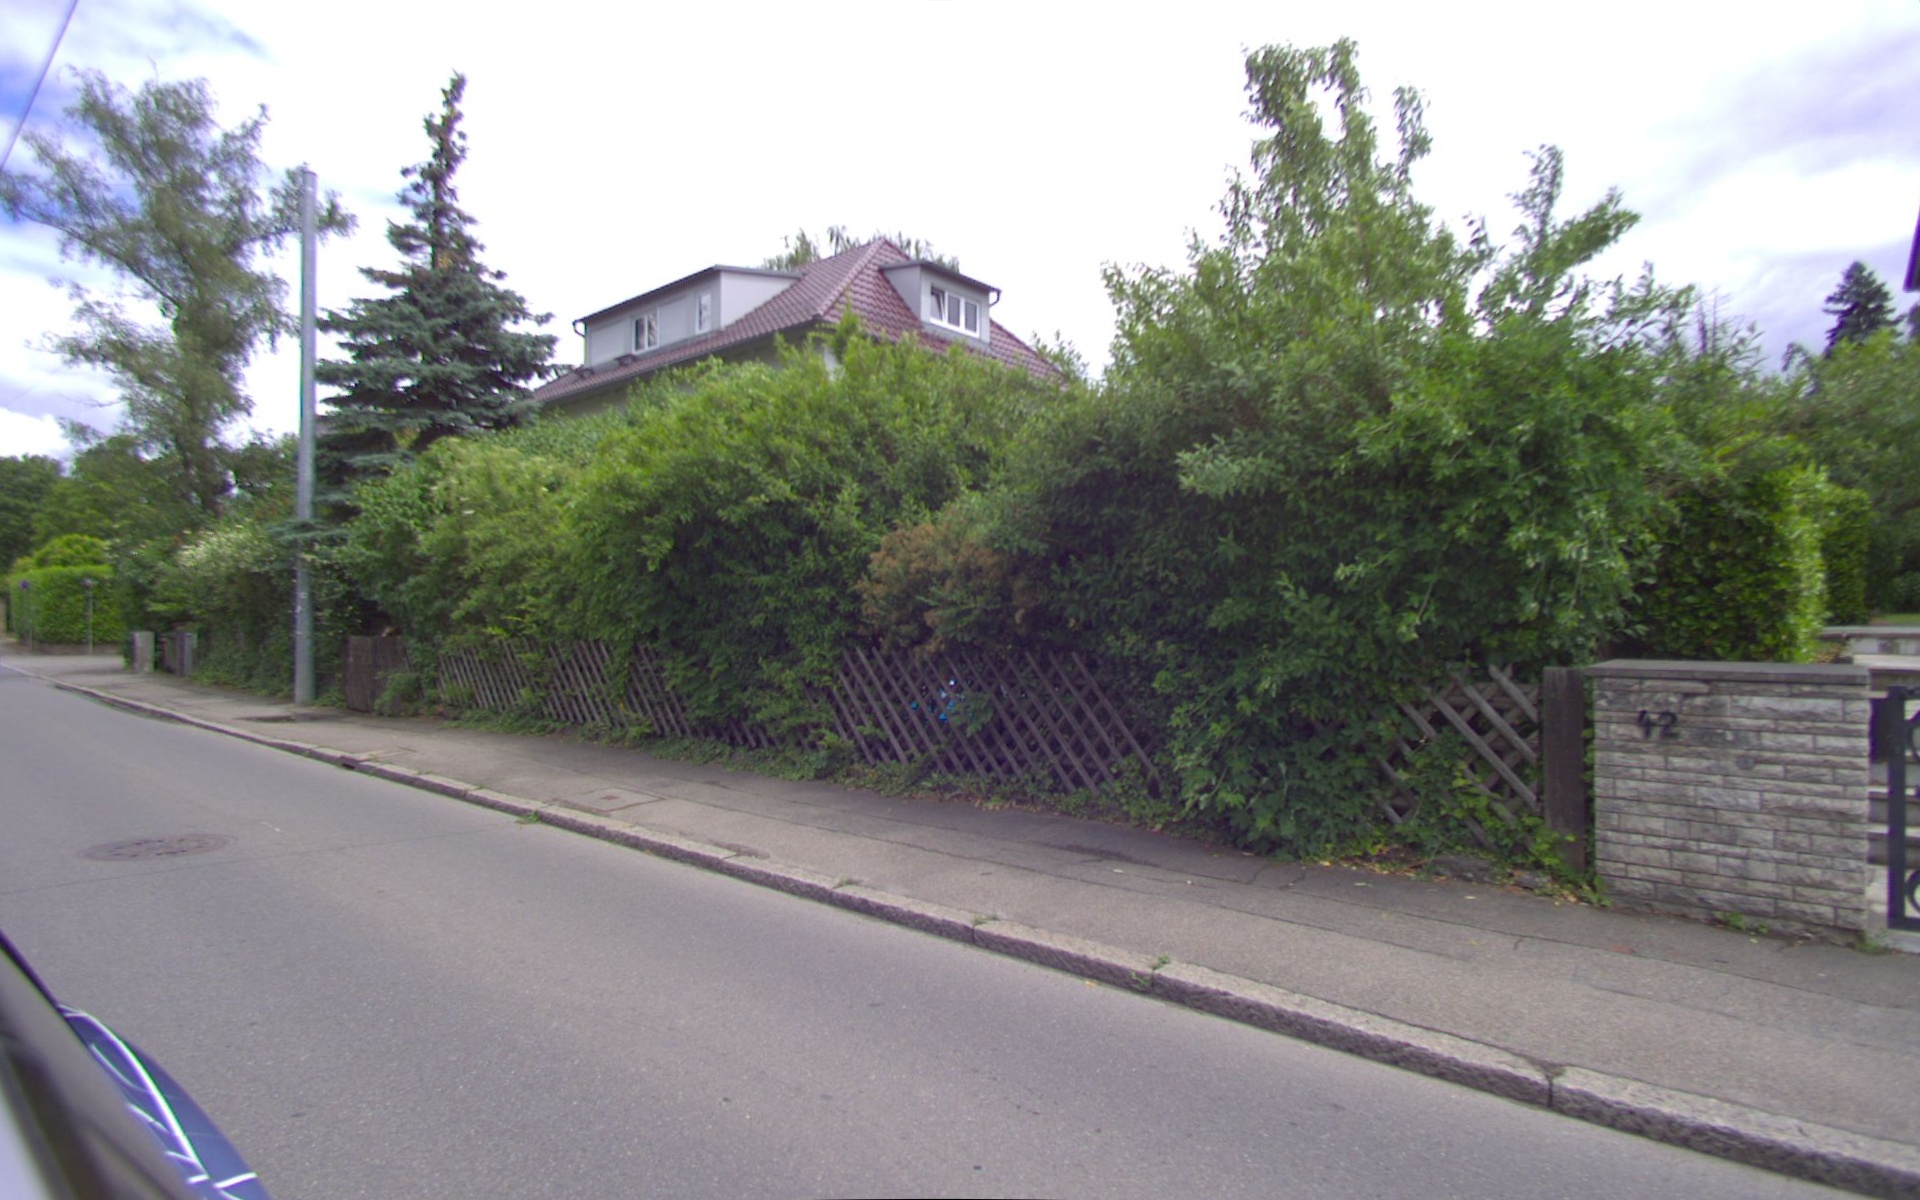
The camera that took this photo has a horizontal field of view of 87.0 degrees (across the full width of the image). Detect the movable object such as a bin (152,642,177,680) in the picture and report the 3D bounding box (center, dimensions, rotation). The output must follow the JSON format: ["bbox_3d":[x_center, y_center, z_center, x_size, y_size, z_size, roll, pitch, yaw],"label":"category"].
[{"bbox_3d":[-20.766,1.583,26.427,0.511,0.958,0.375,-1,1,39],"label":"movable object such as a bin"}]

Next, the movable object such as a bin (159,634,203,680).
[{"bbox_3d":[-20.146,1.461,26.181,0.722,1.134,0.721,-1,1,38],"label":"movable object such as a bin"}]
